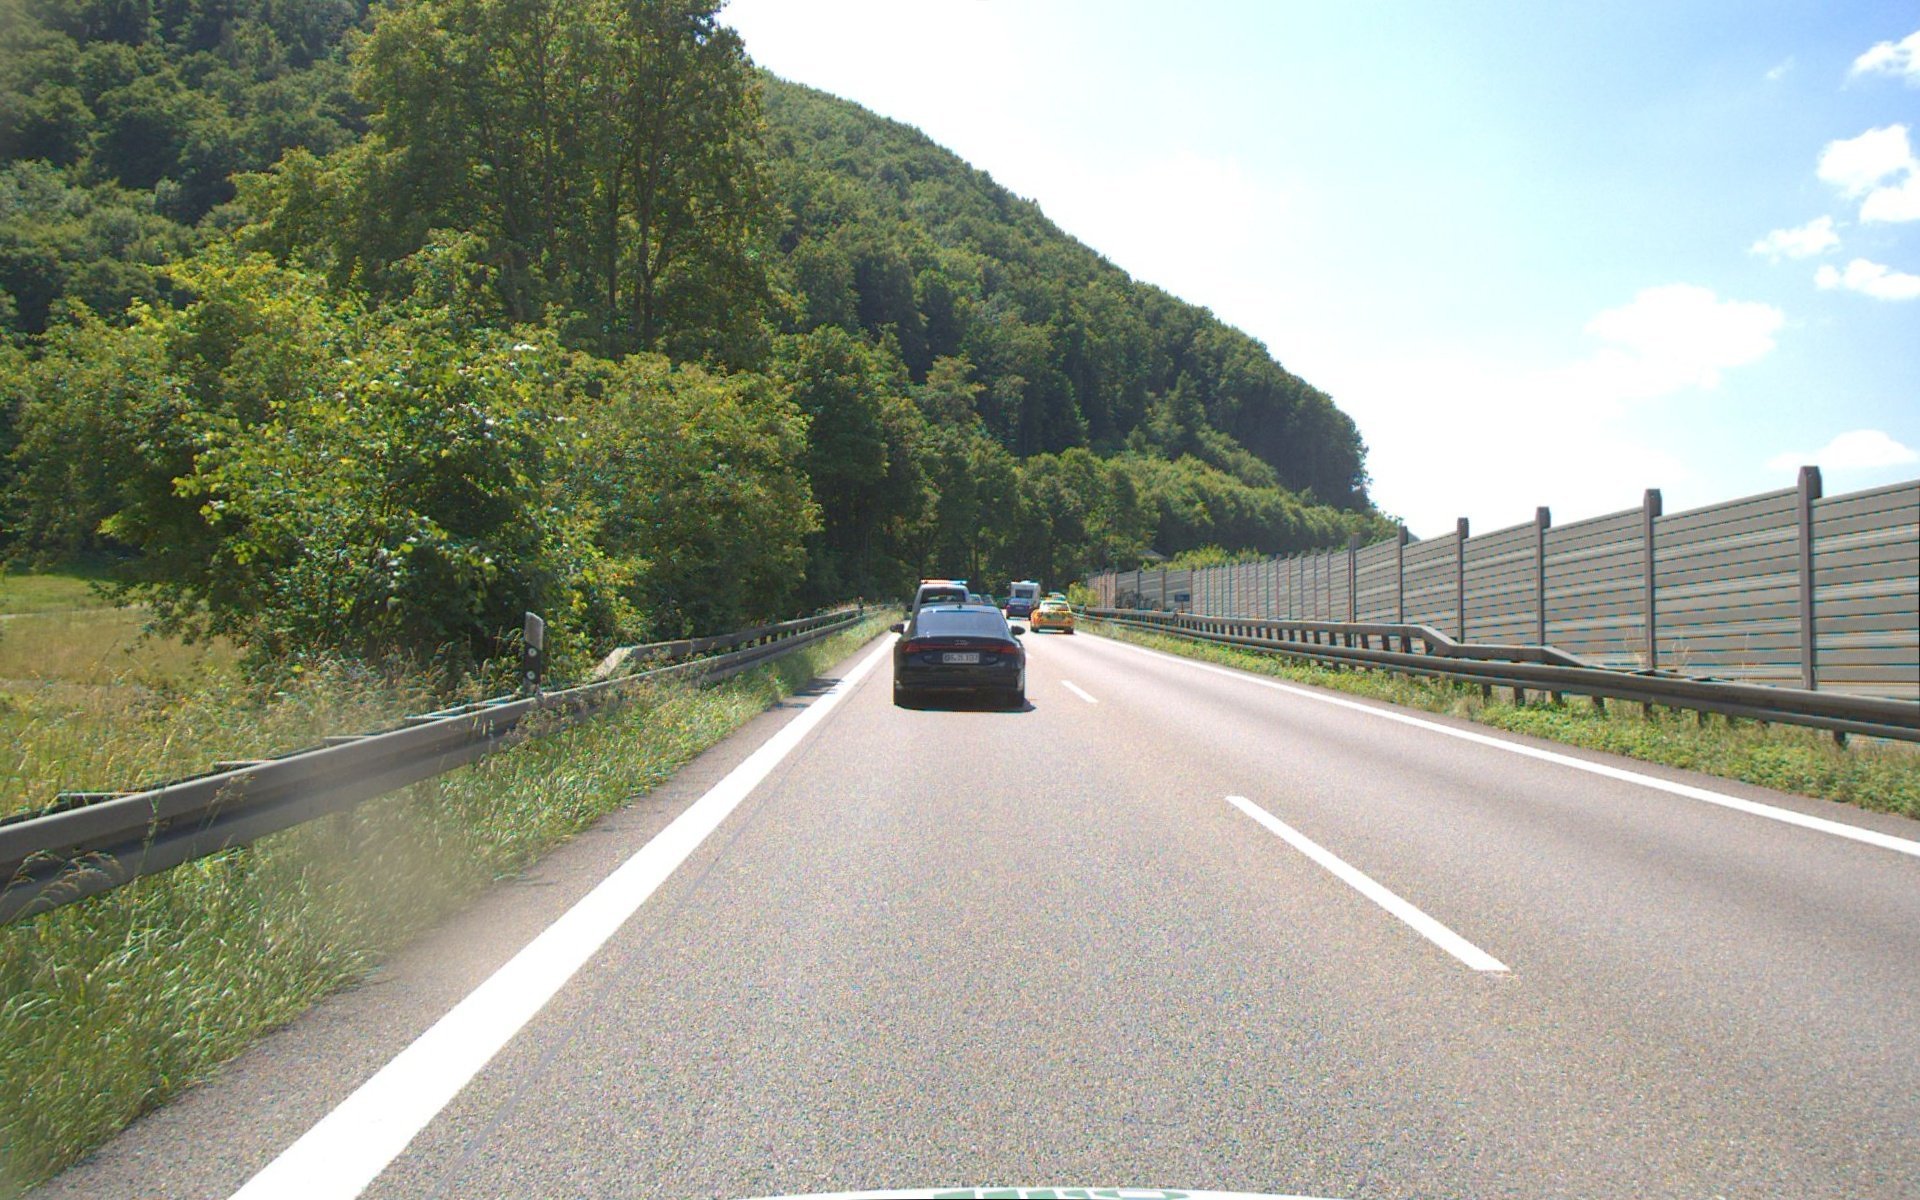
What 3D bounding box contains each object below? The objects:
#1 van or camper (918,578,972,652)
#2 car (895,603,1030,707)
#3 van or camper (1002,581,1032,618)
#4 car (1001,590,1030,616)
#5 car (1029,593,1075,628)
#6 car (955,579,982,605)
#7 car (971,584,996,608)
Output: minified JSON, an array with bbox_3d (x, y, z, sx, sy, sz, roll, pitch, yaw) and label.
[{"bbox_3d":[-0.396,0.392,44.212,1.363,1.847,3.999,1,0,-1],"label":"van or camper"},{"bbox_3d":[0.017,0.748,24.156,1.800,1.373,3.999,0,0,-1],"label":"car"},{"bbox_3d":[4.719,-0.059,137.635,2.405,2.969,6.127,1,0,1],"label":"van or camper"},{"bbox_3d":[3.784,0.219,113.697,1.737,1.665,3.999,2,0,-1],"label":"car"},{"bbox_3d":[4.125,0.486,74.569,1.824,1.514,4.000,1,0,0],"label":"car"},{"bbox_3d":[0.658,-0.612,130.331,1.953,2.049,3.999,1,0,-1],"label":"car"},{"bbox_3d":[2.081,-0.296,145.695,1.952,2.049,4.002,1,0,4],"label":"car"}]
